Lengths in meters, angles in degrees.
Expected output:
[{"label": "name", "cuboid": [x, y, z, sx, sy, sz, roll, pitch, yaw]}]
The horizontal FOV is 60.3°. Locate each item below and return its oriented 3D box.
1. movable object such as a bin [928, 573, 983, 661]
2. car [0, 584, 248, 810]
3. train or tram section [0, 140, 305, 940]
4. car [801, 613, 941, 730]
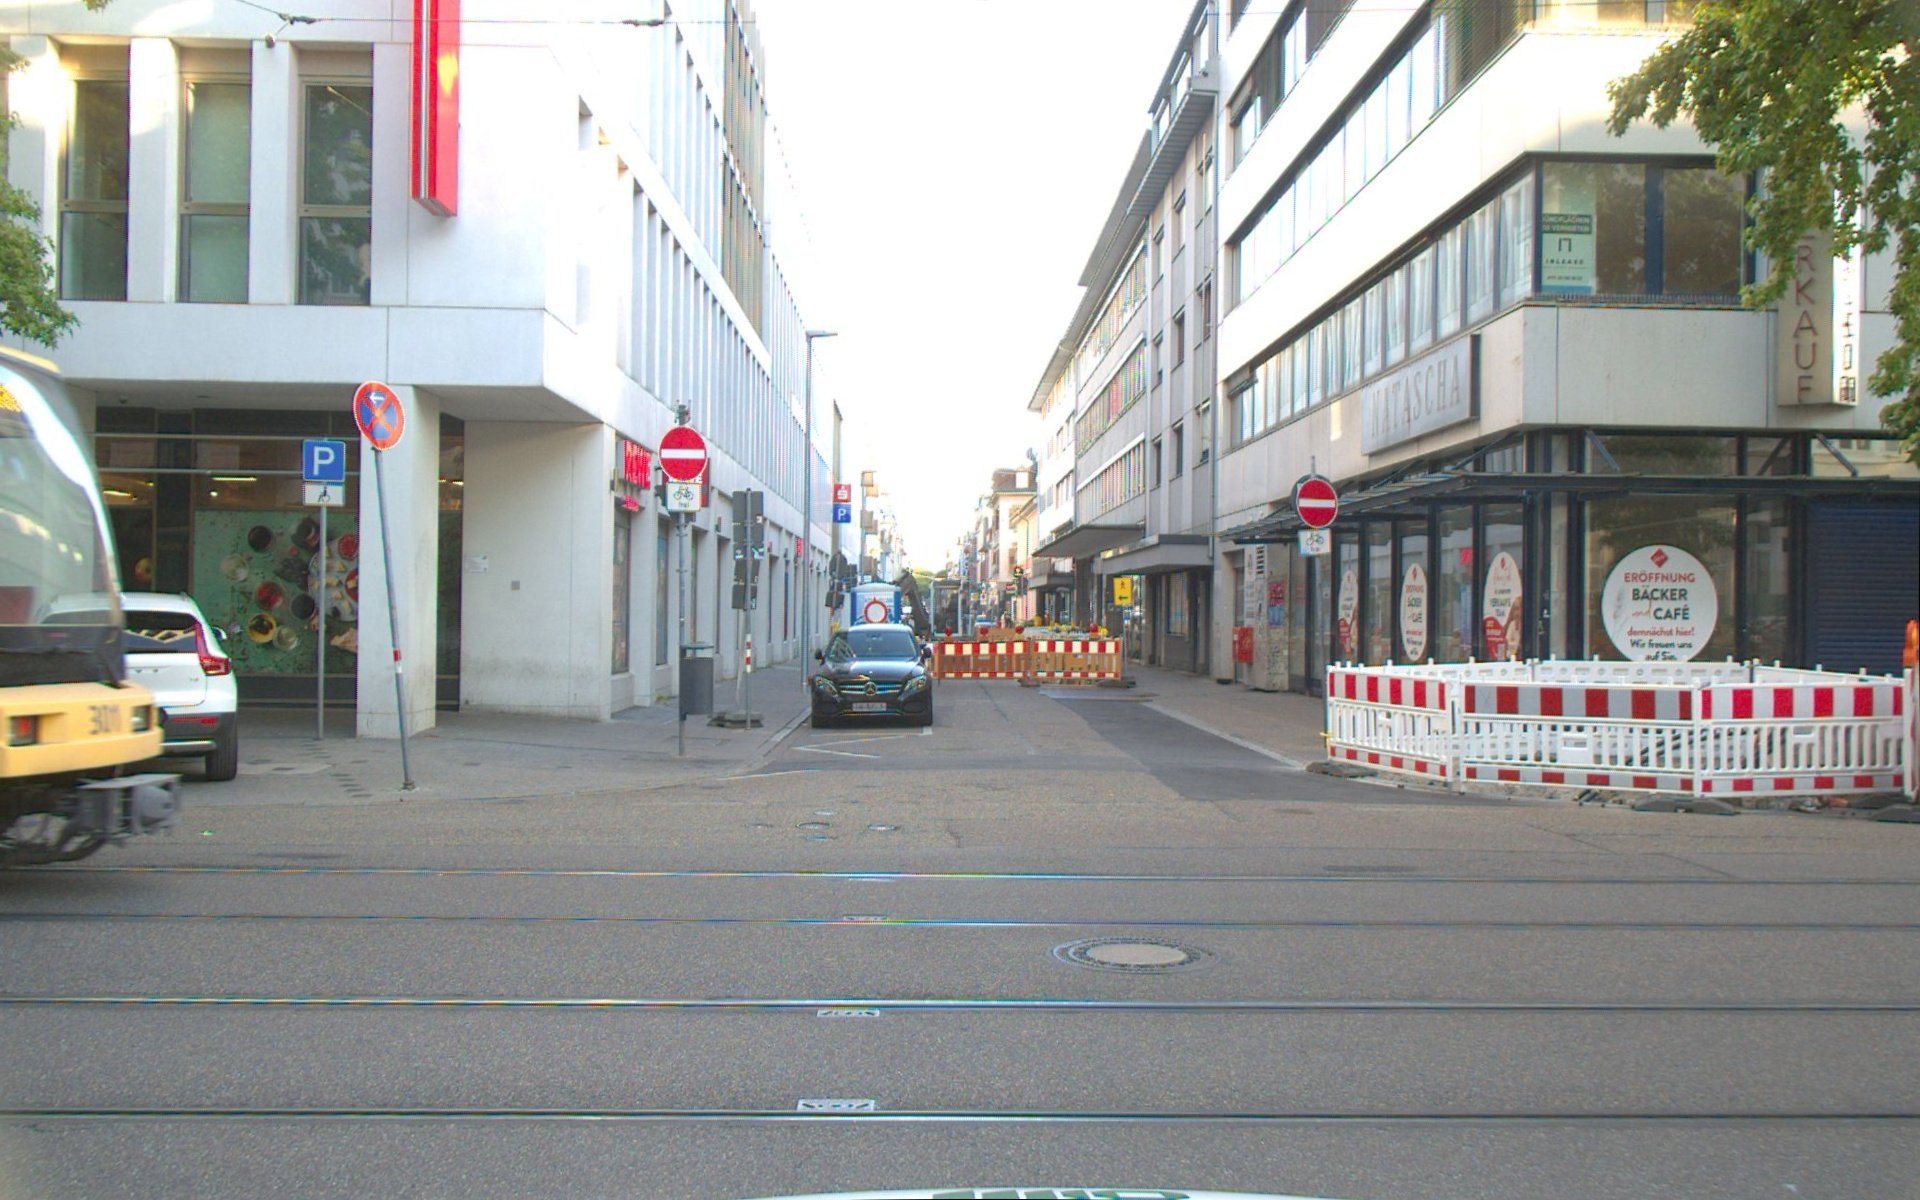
[{"label": "movable object such as a bin", "cuboid": [-0.117, 0.508, 48.838, 1.406, 2.537, 1.759, 0, -1, 7]}, {"label": "car", "cuboid": [-7.902, 0.767, 15.701, 1.922, 1.701, 4.238, -1, 2, -26]}, {"label": "train or tram section", "cuboid": [-9.176, -0.269, 8.747, 10.127, 3.585, 3.025, 0, -1, -2]}, {"label": "car", "cuboid": [-1.270, 1.037, 25.297, 1.858, 1.641, 4.152, 0, -1, 1]}]
